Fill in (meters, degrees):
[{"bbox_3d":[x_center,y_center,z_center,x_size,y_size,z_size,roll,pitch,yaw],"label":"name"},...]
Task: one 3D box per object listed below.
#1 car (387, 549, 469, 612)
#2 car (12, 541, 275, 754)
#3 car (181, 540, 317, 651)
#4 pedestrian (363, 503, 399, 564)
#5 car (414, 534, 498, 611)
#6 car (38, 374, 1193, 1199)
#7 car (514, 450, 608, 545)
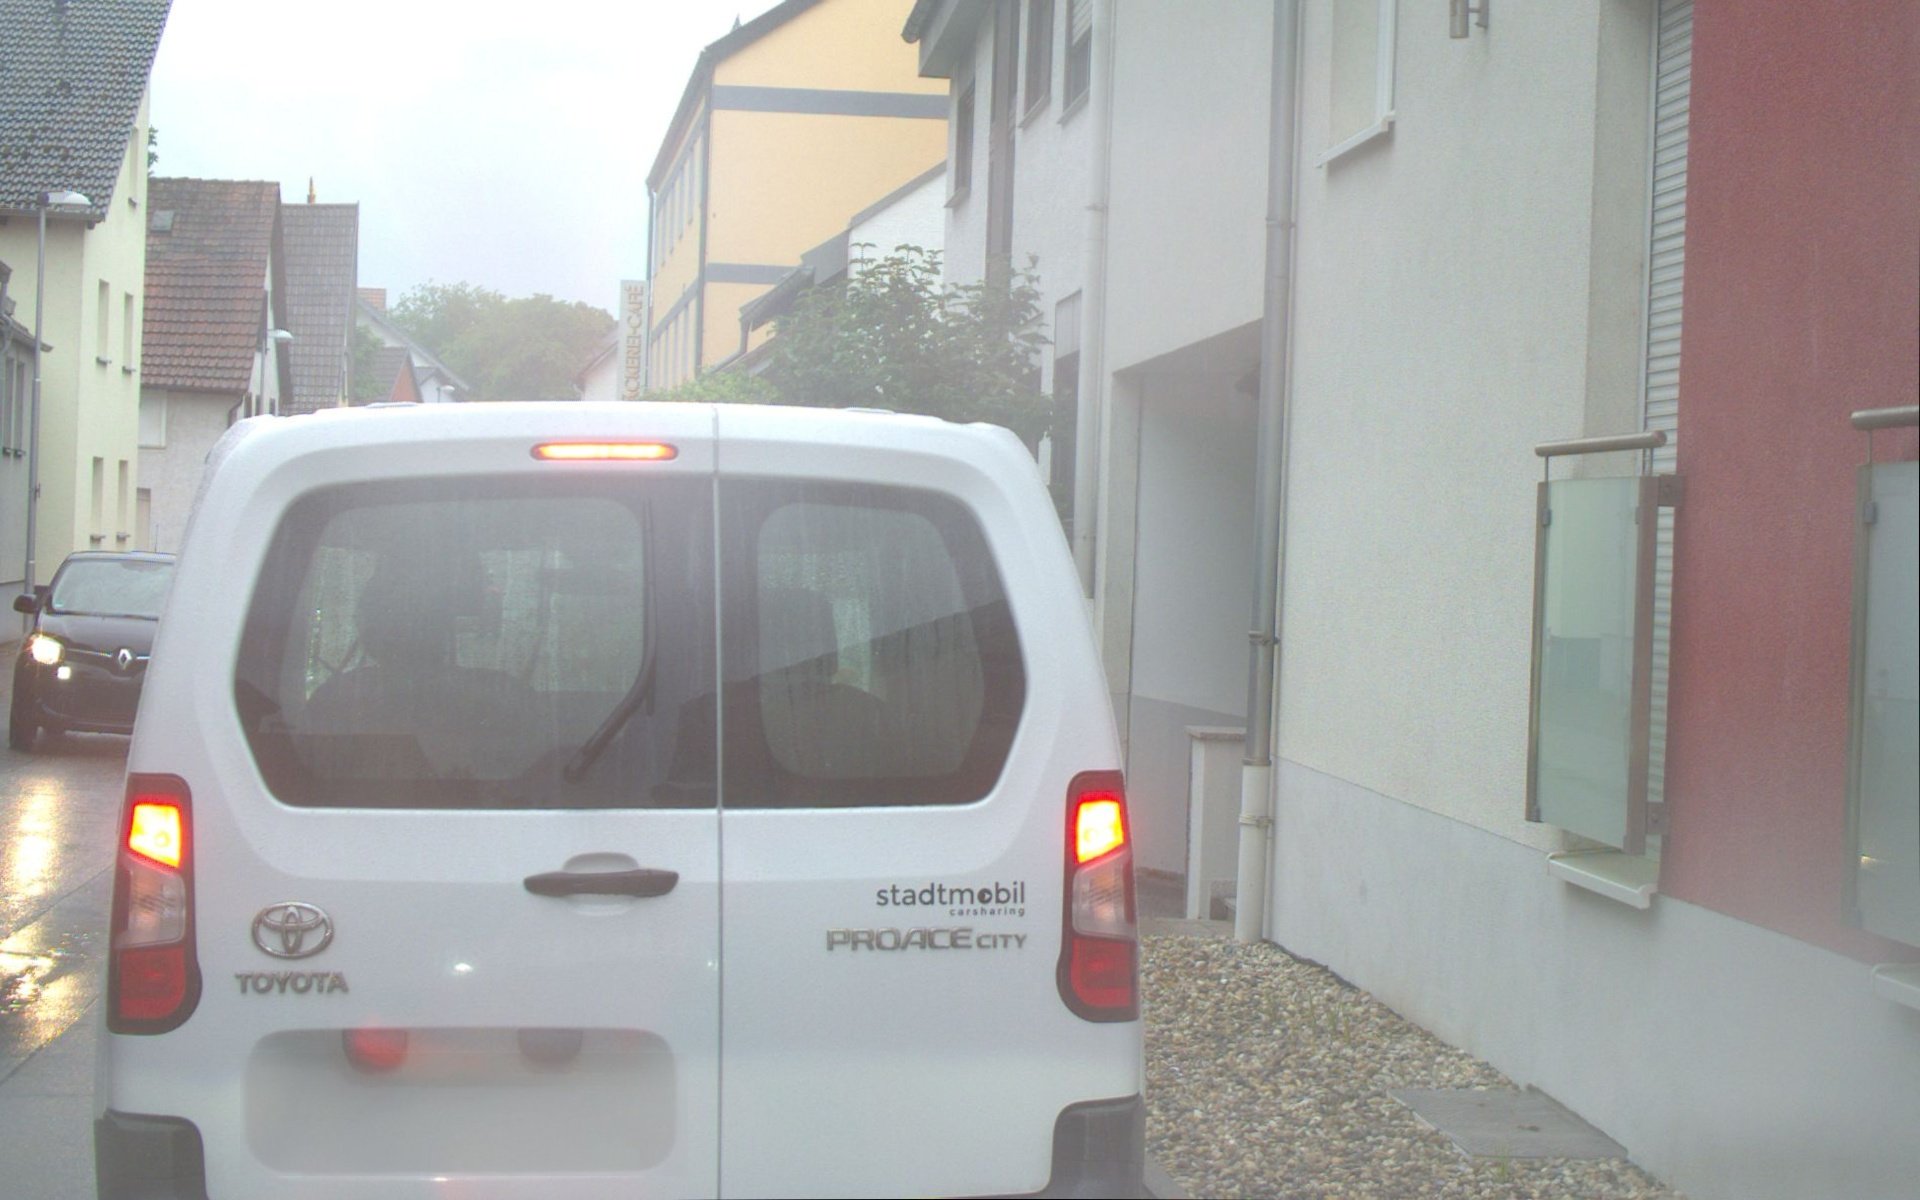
[{"bbox_3d":[-12.227,-0.466,78.831,1.779,1.390,4.001,1,1,-10],"label":"car"},{"bbox_3d":[-6.361,0.324,27.094,1.604,1.508,3.689,2,1,-8],"label":"car"},{"bbox_3d":[-10.747,-0.099,52.177,1.832,1.550,4.241,2,1,-10],"label":"car"},{"bbox_3d":[-18.112,-2.089,107.573,1.050,1.886,0.877,1,0,-9],"label":"pedestrian"},{"bbox_3d":[-10.180,-0.562,69.230,1.560,1.472,4.001,1,1,-10],"label":"car"},{"bbox_3d":[-0.829,0.531,7.333,1.774,1.774,4.001,1,1,-9],"label":"car"},{"bbox_3d":[-8.834,-2.248,76.333,1.993,2.007,4.001,1,1,-6],"label":"car"}]
